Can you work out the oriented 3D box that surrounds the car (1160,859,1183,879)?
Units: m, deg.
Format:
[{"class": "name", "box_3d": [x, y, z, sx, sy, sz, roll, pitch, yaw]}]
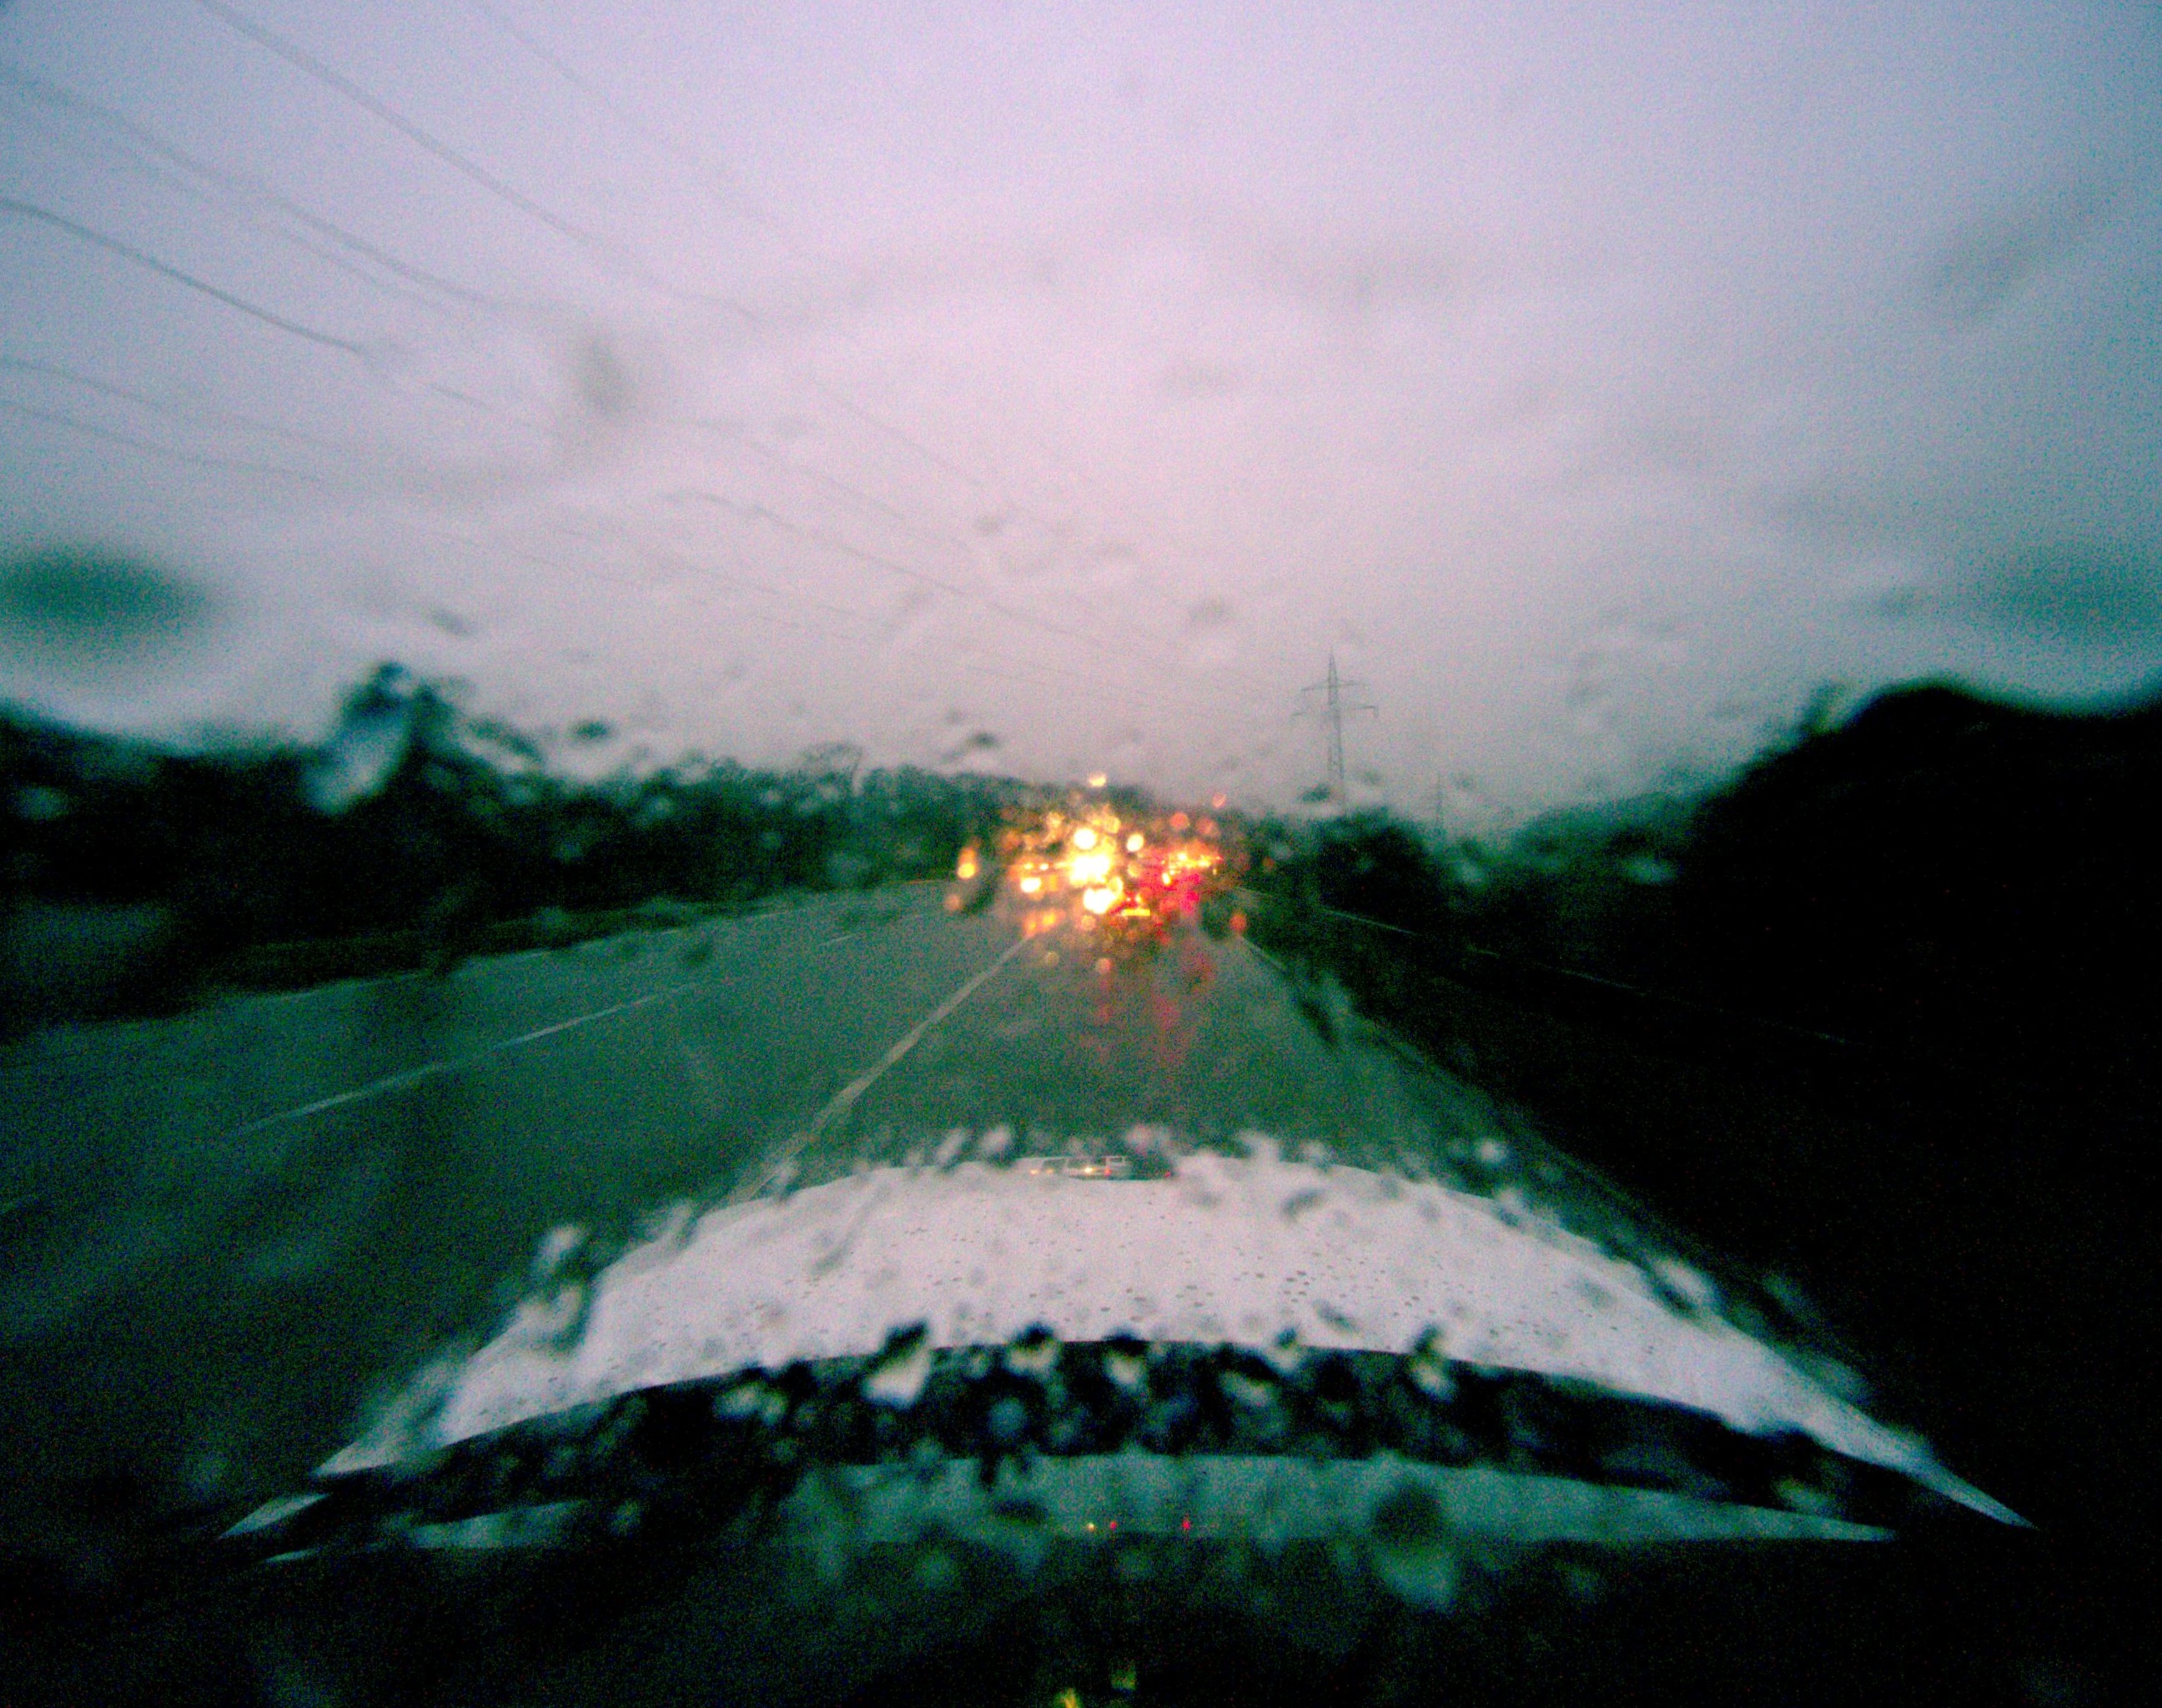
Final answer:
[{"class": "car", "box_3d": [8.203, 1.361, 73.772, 1.935, 1.745, 4.009, 0, 0, 8]}]

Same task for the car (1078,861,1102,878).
[{"class": "car", "box_3d": [0.819, 1.342, 71.827, 1.686, 1.417, 4.007, 1, 0, 6]}]

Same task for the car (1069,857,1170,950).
[{"class": "car", "box_3d": [0.732, 0.895, 16.602, 1.724, 1.532, 4.043, -4, 0, 1]}]

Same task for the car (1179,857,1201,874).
[{"class": "car", "box_3d": [12.259, 1.254, 91.448, 1.932, 1.745, 4.016, 0, 0, 14]}]

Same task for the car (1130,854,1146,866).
[{"class": "car", "box_3d": [7.351, 0.766, 104.629, 1.626, 1.472, 4.460, 2, 1, 9]}]

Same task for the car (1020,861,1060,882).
[{"class": "car", "box_3d": [-2.824, 1.207, 56.827, 1.584, 1.244, 4.016, 2, 1, 15]}]

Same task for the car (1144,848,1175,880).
[{"class": "car", "box_3d": [5.154, 0.624, 53.884, 1.938, 2.013, 4.003, 0, 0, 3]}]
